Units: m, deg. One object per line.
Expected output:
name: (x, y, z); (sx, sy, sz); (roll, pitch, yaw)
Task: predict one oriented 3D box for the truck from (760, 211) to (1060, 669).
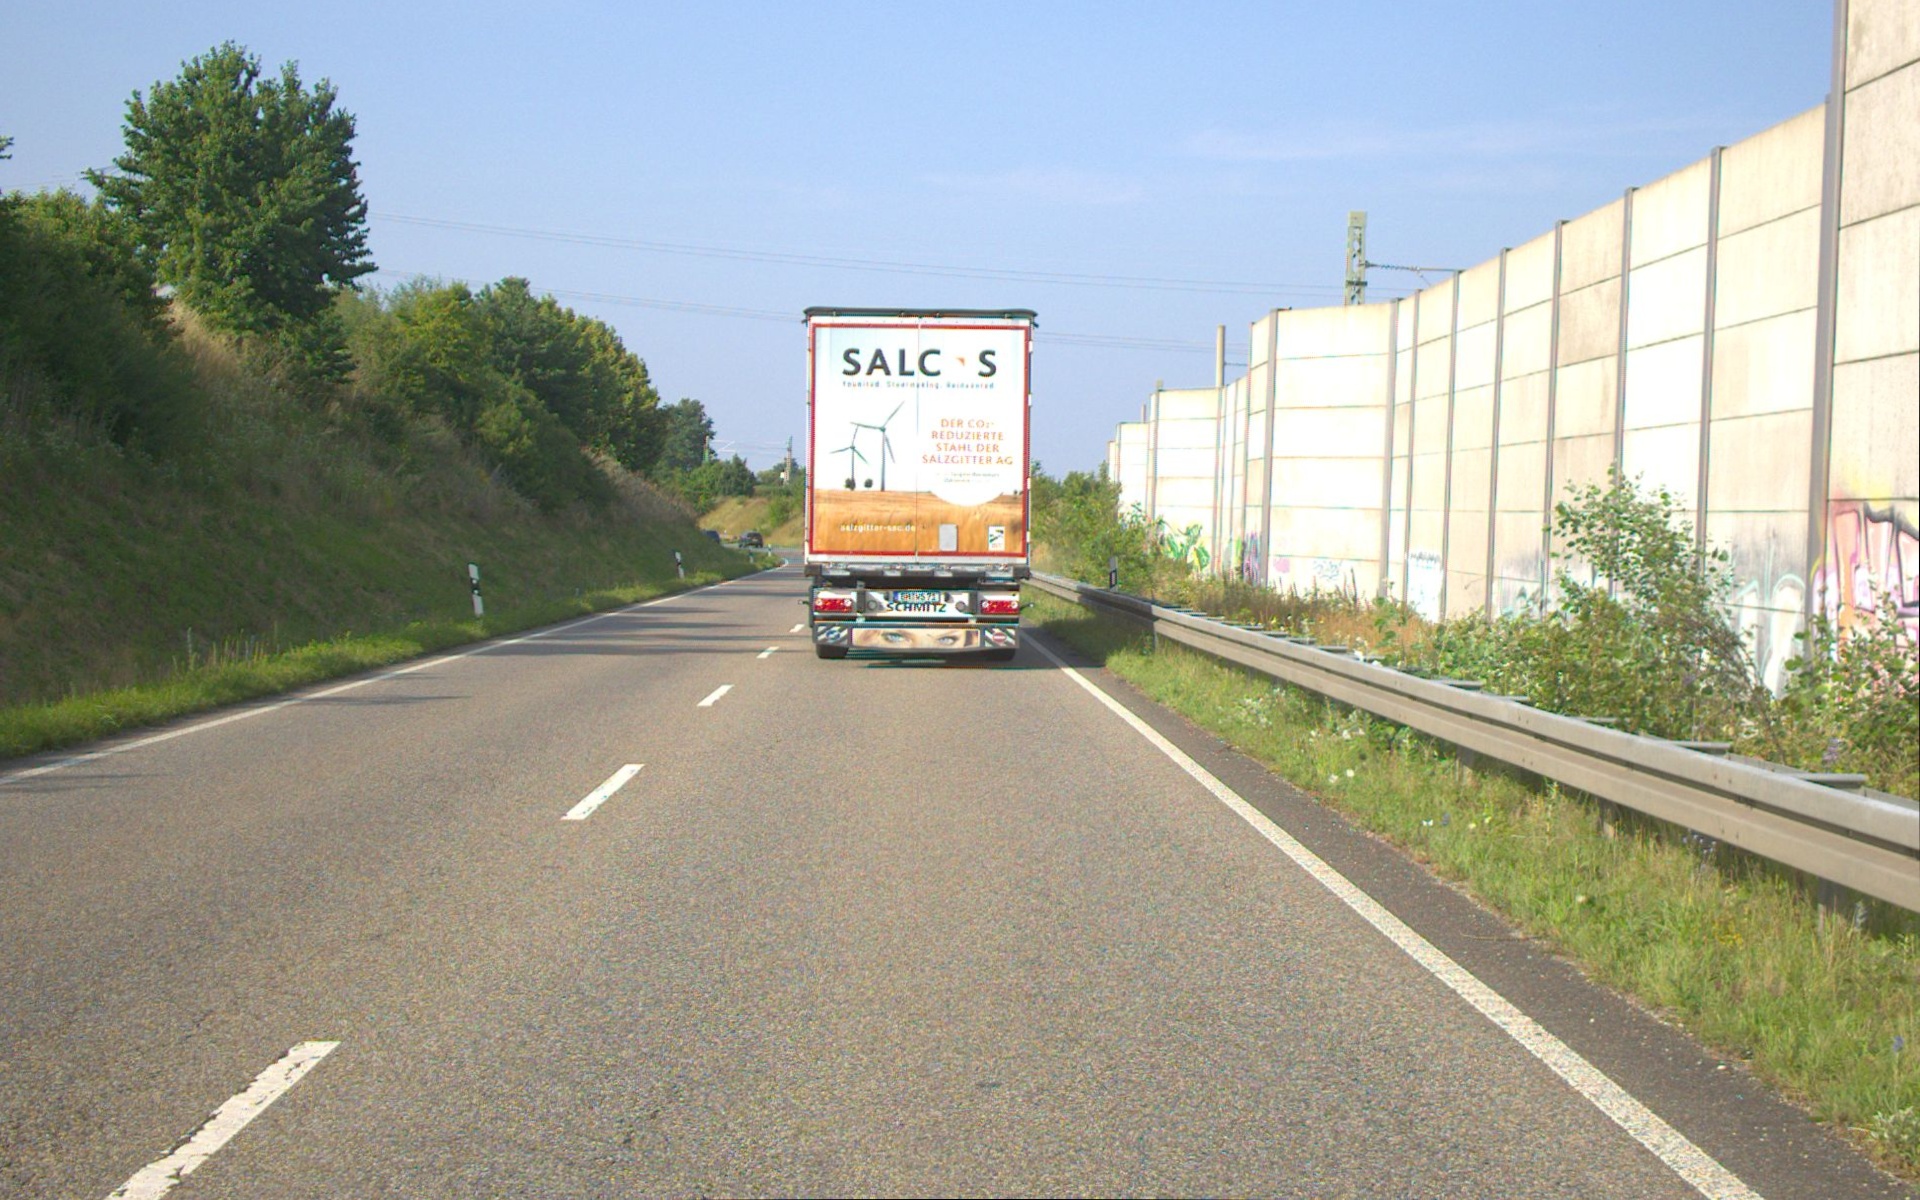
truck: (-0.830, -1.965, 44.413); (3.290, 5.072, 12.040); (1, 2, -3)
